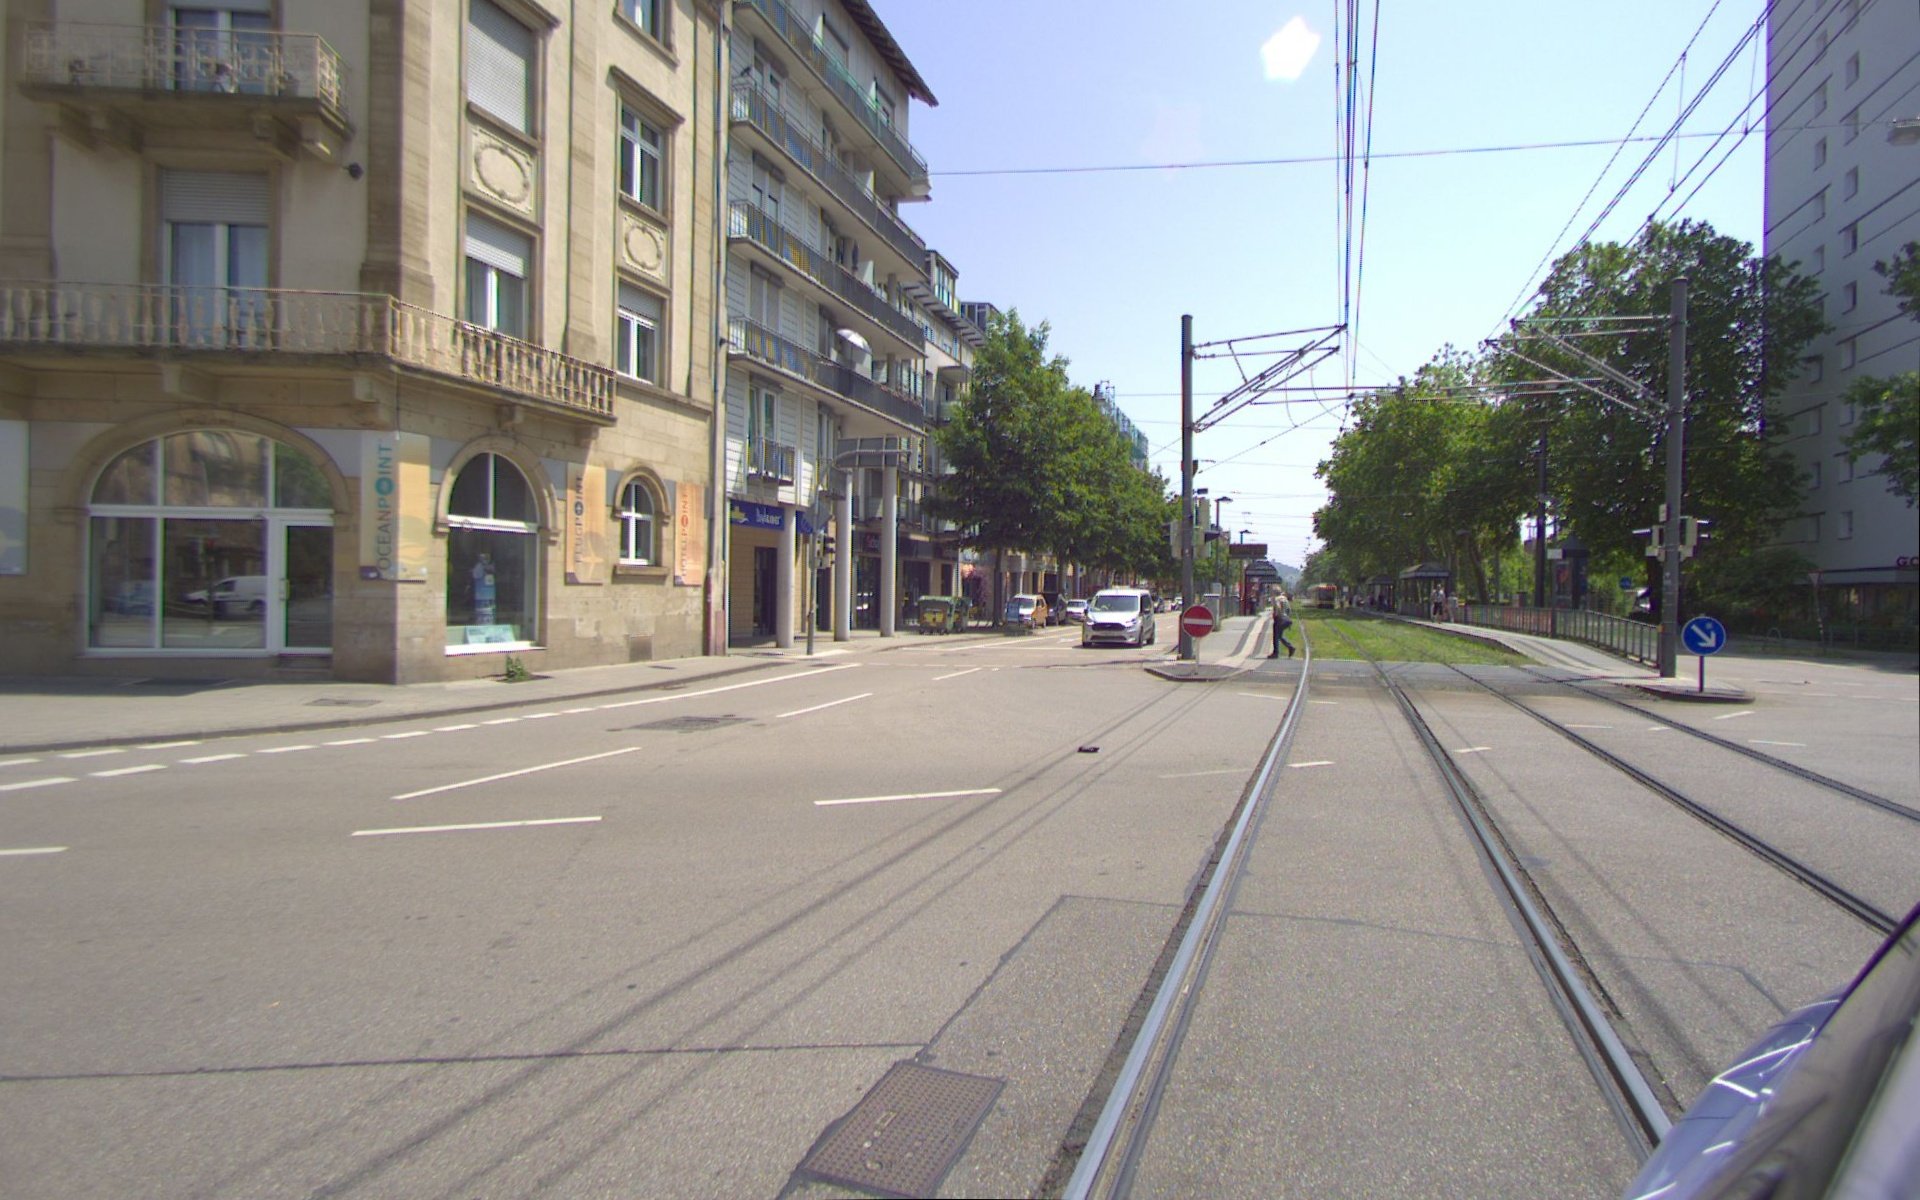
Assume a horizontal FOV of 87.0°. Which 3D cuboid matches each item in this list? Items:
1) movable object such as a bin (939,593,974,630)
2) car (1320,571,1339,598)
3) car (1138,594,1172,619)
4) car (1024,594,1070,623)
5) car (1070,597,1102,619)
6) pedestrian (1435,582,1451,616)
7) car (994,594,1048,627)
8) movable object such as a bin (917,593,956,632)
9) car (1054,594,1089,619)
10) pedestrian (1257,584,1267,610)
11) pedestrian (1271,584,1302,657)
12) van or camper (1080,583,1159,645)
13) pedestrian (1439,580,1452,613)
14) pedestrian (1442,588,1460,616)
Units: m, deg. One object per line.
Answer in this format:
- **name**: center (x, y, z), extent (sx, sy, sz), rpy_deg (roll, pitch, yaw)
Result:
- **movable object such as a bin**: center (-0.147, 0.459, 40.319), extent (1.196, 1.454, 1.004), rpy_deg (0, 0, 13)
- **car**: center (48.996, -2.004, 134.342), extent (2.247, 3.381, 11.958), rpy_deg (1, 0, 19)
- **car**: center (13.855, 0.447, 71.796), extent (1.973, 1.683, 3.978), rpy_deg (1, 1, 17)
- **car**: center (4.872, 0.424, 56.167), extent (1.865, 1.551, 3.980), rpy_deg (0, 0, 16)
- **car**: center (8.543, 0.519, 68.499), extent (1.662, 1.460, 3.460), rpy_deg (1, 0, 15)
- **pedestrian**: center (22.872, -0.045, 47.927), extent (0.546, 1.626, 0.676), rpy_deg (0, 0, 18)
- **car**: center (3.124, 0.491, 51.113), extent (1.972, 1.551, 3.980), rpy_deg (0, 0, 16)
- **movable object such as a bin**: center (-0.873, 0.472, 38.229), extent (1.201, 1.454, 1.001), rpy_deg (0, 0, 22)
- **car**: center (7.008, 0.395, 63.210), extent (1.662, 1.460, 3.460), rpy_deg (1, 0, 15)
- **pedestrian**: center (18.568, -0.189, 62.254), extent (0.543, 1.626, 0.550), rpy_deg (0, 0, 19)
- **pedestrian**: center (7.866, 0.473, 24.345), extent (0.672, 1.727, 0.550), rpy_deg (0, 0, 22)
- **van or camper**: center (5.037, 0.392, 31.554), extent (1.744, 1.780, 4.567), rpy_deg (-1, 0, 18)
- **pedestrian**: center (23.828, -0.173, 49.676), extent (0.540, 1.600, 0.512), rpy_deg (0, 0, 18)
- **pedestrian**: center (24.442, 0.083, 50.386), extent (0.670, 1.366, 0.628), rpy_deg (0, 0, 18)
